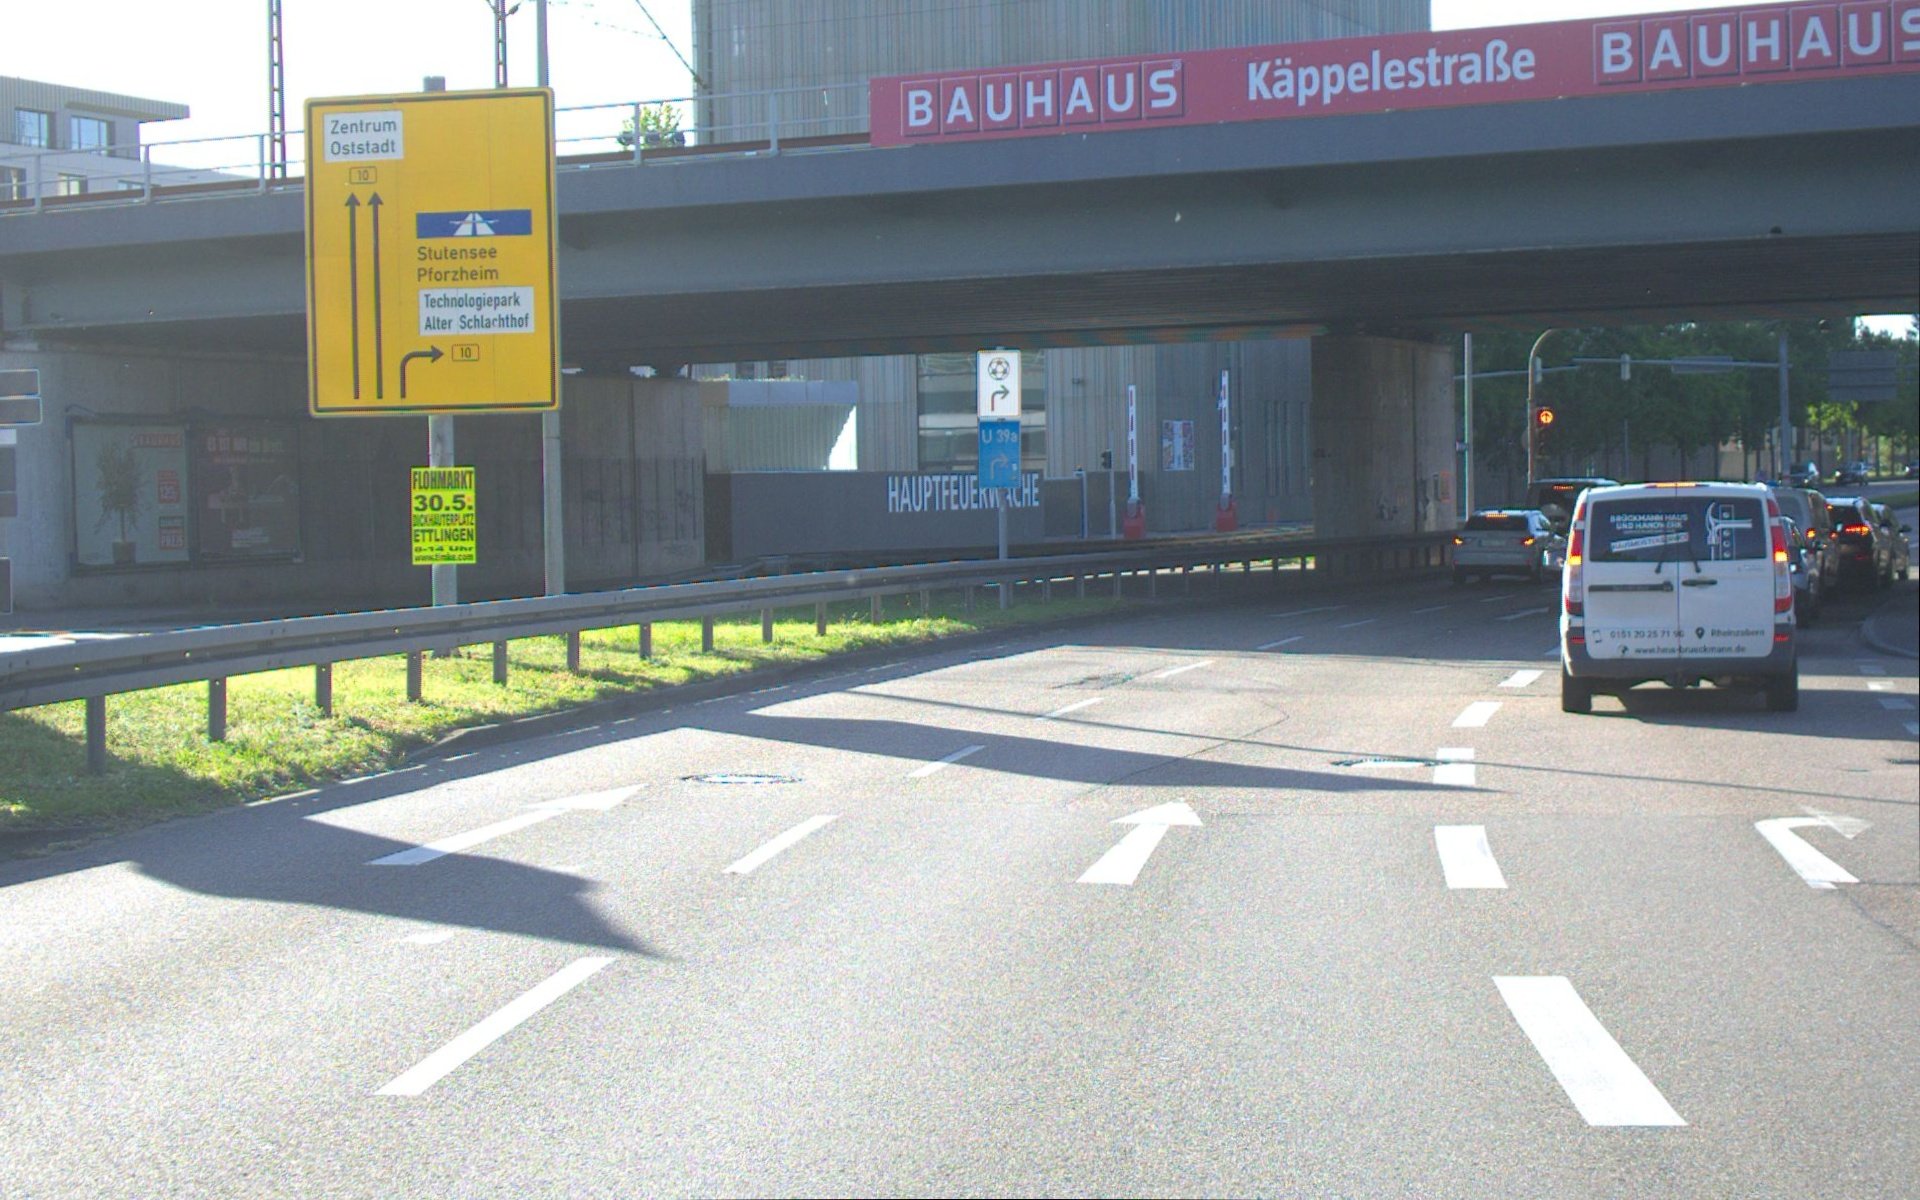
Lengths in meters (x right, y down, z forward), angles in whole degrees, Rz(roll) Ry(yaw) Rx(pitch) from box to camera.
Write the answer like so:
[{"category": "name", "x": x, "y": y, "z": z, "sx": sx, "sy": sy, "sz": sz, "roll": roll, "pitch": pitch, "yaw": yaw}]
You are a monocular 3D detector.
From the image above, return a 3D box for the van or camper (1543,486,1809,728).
[{"category": "van or camper", "x": 6.210, "y": 0.005, "z": 29.423, "sx": 1.960, "sy": 1.877, "sz": 4.877, "roll": -1, "pitch": 1, "yaw": 15}]

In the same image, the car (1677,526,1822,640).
[{"category": "car", "x": 10.845, "y": -0.259, "z": 47.066, "sx": 1.764, "sy": 1.470, "sz": 4.286, "roll": 0, "pitch": 1, "yaw": 15}]

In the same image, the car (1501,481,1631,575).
[{"category": "car", "x": 13.031, "y": -1.547, "z": 73.689, "sx": 1.868, "sy": 1.940, "sz": 4.591, "roll": 0, "pitch": 1, "yaw": 22}]

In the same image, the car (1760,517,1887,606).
[{"category": "car", "x": 15.307, "y": -0.706, "z": 60.855, "sx": 1.710, "sy": 1.517, "sz": 3.739, "roll": 0, "pitch": 1, "yaw": 22}]

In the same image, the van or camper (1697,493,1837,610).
[{"category": "van or camper", "x": 12.912, "y": -0.797, "z": 54.824, "sx": 1.827, "sy": 1.785, "sz": 4.541, "roll": 1, "pitch": 1, "yaw": 17}]

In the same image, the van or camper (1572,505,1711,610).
[{"category": "van or camper", "x": 12.183, "y": -0.782, "z": 61.323, "sx": 1.756, "sy": 1.807, "sz": 3.954, "roll": 0, "pitch": 1, "yaw": 22}]

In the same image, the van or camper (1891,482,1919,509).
[{"category": "van or camper", "x": 68.155, "y": -7.513, "z": 247.518, "sx": 1.787, "sy": 1.857, "sz": 3.905, "roll": -2, "pitch": 0, "yaw": 19}]

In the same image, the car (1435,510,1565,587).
[{"category": "car", "x": 10.494, "y": -1.027, "z": 66.636, "sx": 1.710, "sy": 1.447, "sz": 3.739, "roll": 0, "pitch": 1, "yaw": 22}]

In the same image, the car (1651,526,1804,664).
[{"category": "car", "x": 8.823, "y": -0.092, "z": 39.362, "sx": 1.605, "sy": 1.429, "sz": 3.676, "roll": 1, "pitch": 2, "yaw": 14}]
